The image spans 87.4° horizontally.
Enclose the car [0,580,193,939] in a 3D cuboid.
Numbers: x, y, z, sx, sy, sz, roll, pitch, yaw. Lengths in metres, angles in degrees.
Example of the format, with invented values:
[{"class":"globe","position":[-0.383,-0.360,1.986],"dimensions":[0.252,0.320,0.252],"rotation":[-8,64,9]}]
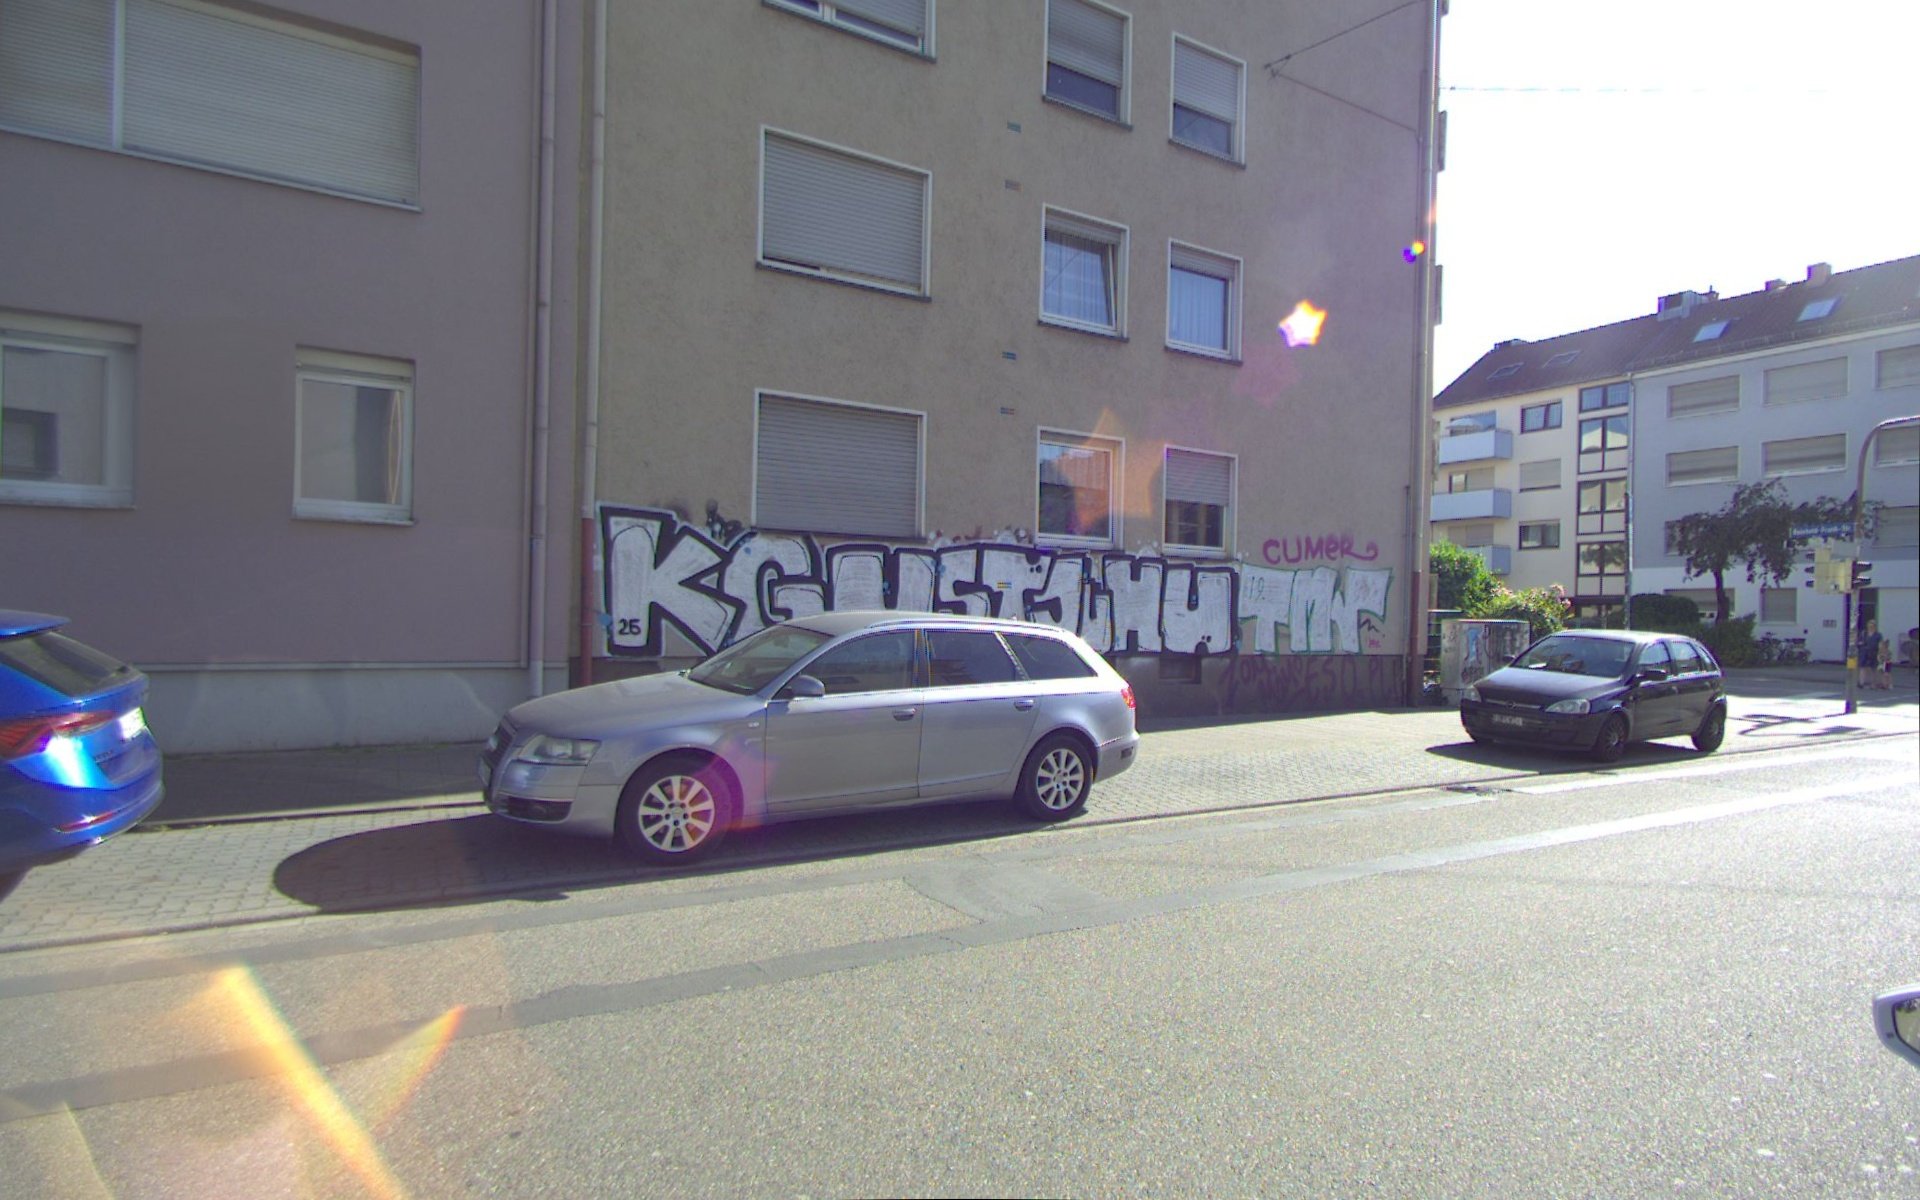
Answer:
[{"class":"car","position":[-6.279,0.650,4.142],"dimensions":[4.747,1.523,1.813],"rotation":[1,2,-32]}]

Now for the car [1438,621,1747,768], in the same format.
[{"class":"car","position":[7.846,1.058,12.392],"dimensions":[3.813,1.468,1.682],"rotation":[1,2,-32]}]

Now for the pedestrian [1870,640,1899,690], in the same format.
[{"class":"pedestrian","position":[22.403,1.568,24.341],"dimensions":[0.526,1.161,0.383],"rotation":[1,0,-32]}]

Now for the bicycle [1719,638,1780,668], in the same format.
[{"class":"bicycle","position":[26.957,1.792,34.312],"dimensions":[0.506,0.952,1.583],"rotation":[1,-1,-27]}]

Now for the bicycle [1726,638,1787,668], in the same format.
[{"class":"bicycle","position":[27.489,1.811,34.687],"dimensions":[0.506,0.952,1.583],"rotation":[1,-1,-27]}]

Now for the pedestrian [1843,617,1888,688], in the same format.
[{"class":"pedestrian","position":[22.497,1.296,24.965],"dimensions":[0.957,1.705,0.570],"rotation":[1,0,-31]}]

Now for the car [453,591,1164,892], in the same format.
[{"class":"car","position":[-0.936,0.785,7.269],"dimensions":[4.747,1.523,1.813],"rotation":[1,2,-32]}]
